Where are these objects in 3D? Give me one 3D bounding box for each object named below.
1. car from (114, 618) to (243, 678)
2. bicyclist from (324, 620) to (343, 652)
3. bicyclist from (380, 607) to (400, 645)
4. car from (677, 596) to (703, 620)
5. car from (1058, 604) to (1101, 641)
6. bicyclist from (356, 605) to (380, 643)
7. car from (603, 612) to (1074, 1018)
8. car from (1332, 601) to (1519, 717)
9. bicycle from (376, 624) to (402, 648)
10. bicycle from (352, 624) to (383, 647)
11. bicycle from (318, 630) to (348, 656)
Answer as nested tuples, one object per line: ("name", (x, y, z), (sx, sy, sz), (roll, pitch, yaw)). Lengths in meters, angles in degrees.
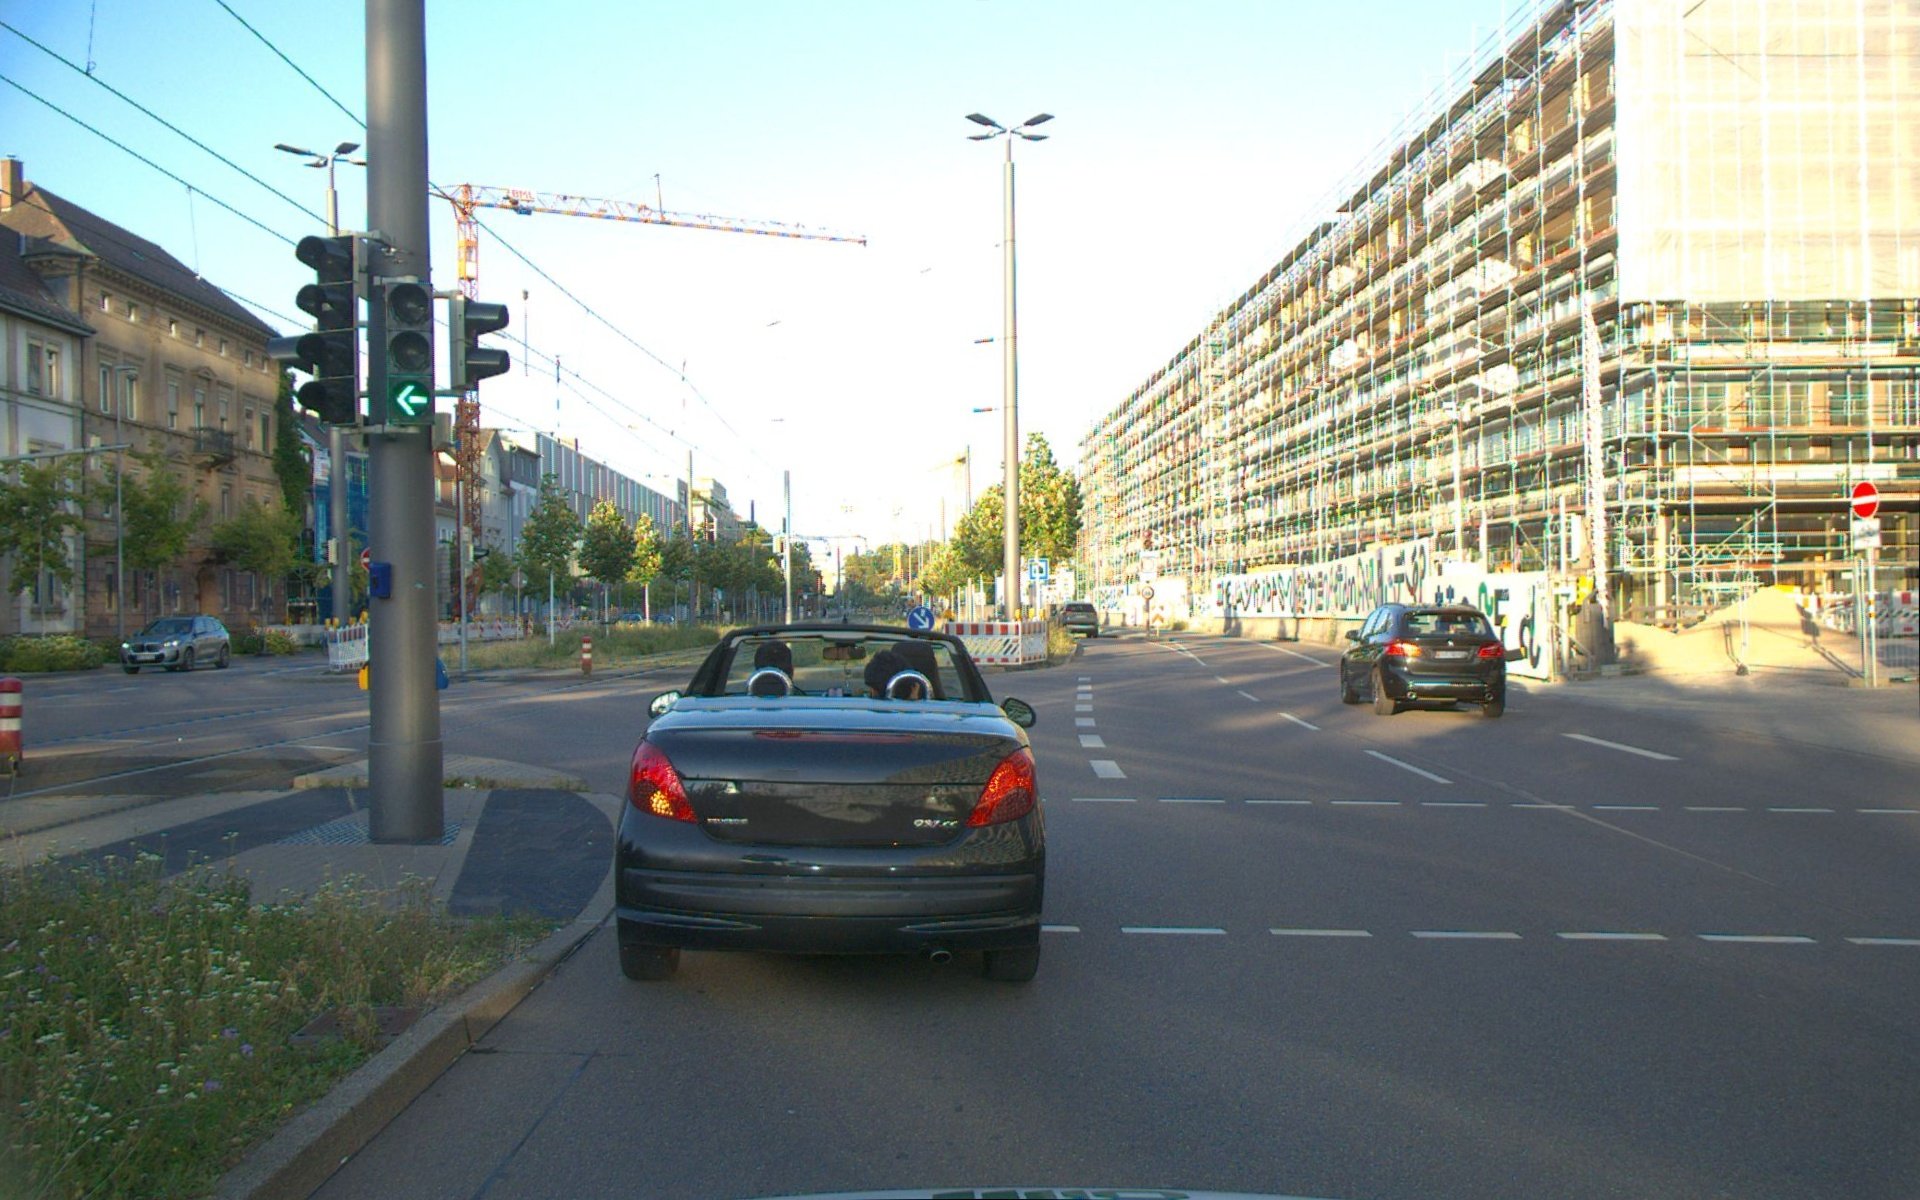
("car", (-23.472, 1.400, 49.843), (1.953, 1.608, 4.122), (-2, 0, -2))
("bicyclist", (-25.782, 1.489, 68.041), (0.577, 1.289, 0.460), (1, 0, 2))
("bicyclist", (-24.253, 1.092, 70.341), (0.578, 1.597, 0.710), (1, 0, -1))
("car", (-23.797, 0.690, 145.886), (1.624, 1.998, 4.265), (1, 0, -1))
("car", (5.609, 1.031, 77.947), (1.796, 1.702, 4.283), (0, 0, 1))
("bicyclist", (-25.396, 1.031, 70.951), (0.756, 1.598, 0.792), (1, 0, -1))
("car", (-0.488, 0.769, 7.798), (1.640, 1.376, 3.998), (0, 0, -2))
("car", (6.824, 0.801, 24.740), (1.782, 1.545, 4.794), (0, 0, 4))
("bicycle", (-24.263, 1.524, 70.340), (0.578, 0.992, 1.556), (1, 0, -1))
("bicycle", (-25.408, 1.522, 70.947), (0.756, 0.961, 1.639), (1, 0, -1))
("bicycle", (-25.788, 1.755, 68.039), (0.577, 1.006, 1.556), (1, 0, 2))
